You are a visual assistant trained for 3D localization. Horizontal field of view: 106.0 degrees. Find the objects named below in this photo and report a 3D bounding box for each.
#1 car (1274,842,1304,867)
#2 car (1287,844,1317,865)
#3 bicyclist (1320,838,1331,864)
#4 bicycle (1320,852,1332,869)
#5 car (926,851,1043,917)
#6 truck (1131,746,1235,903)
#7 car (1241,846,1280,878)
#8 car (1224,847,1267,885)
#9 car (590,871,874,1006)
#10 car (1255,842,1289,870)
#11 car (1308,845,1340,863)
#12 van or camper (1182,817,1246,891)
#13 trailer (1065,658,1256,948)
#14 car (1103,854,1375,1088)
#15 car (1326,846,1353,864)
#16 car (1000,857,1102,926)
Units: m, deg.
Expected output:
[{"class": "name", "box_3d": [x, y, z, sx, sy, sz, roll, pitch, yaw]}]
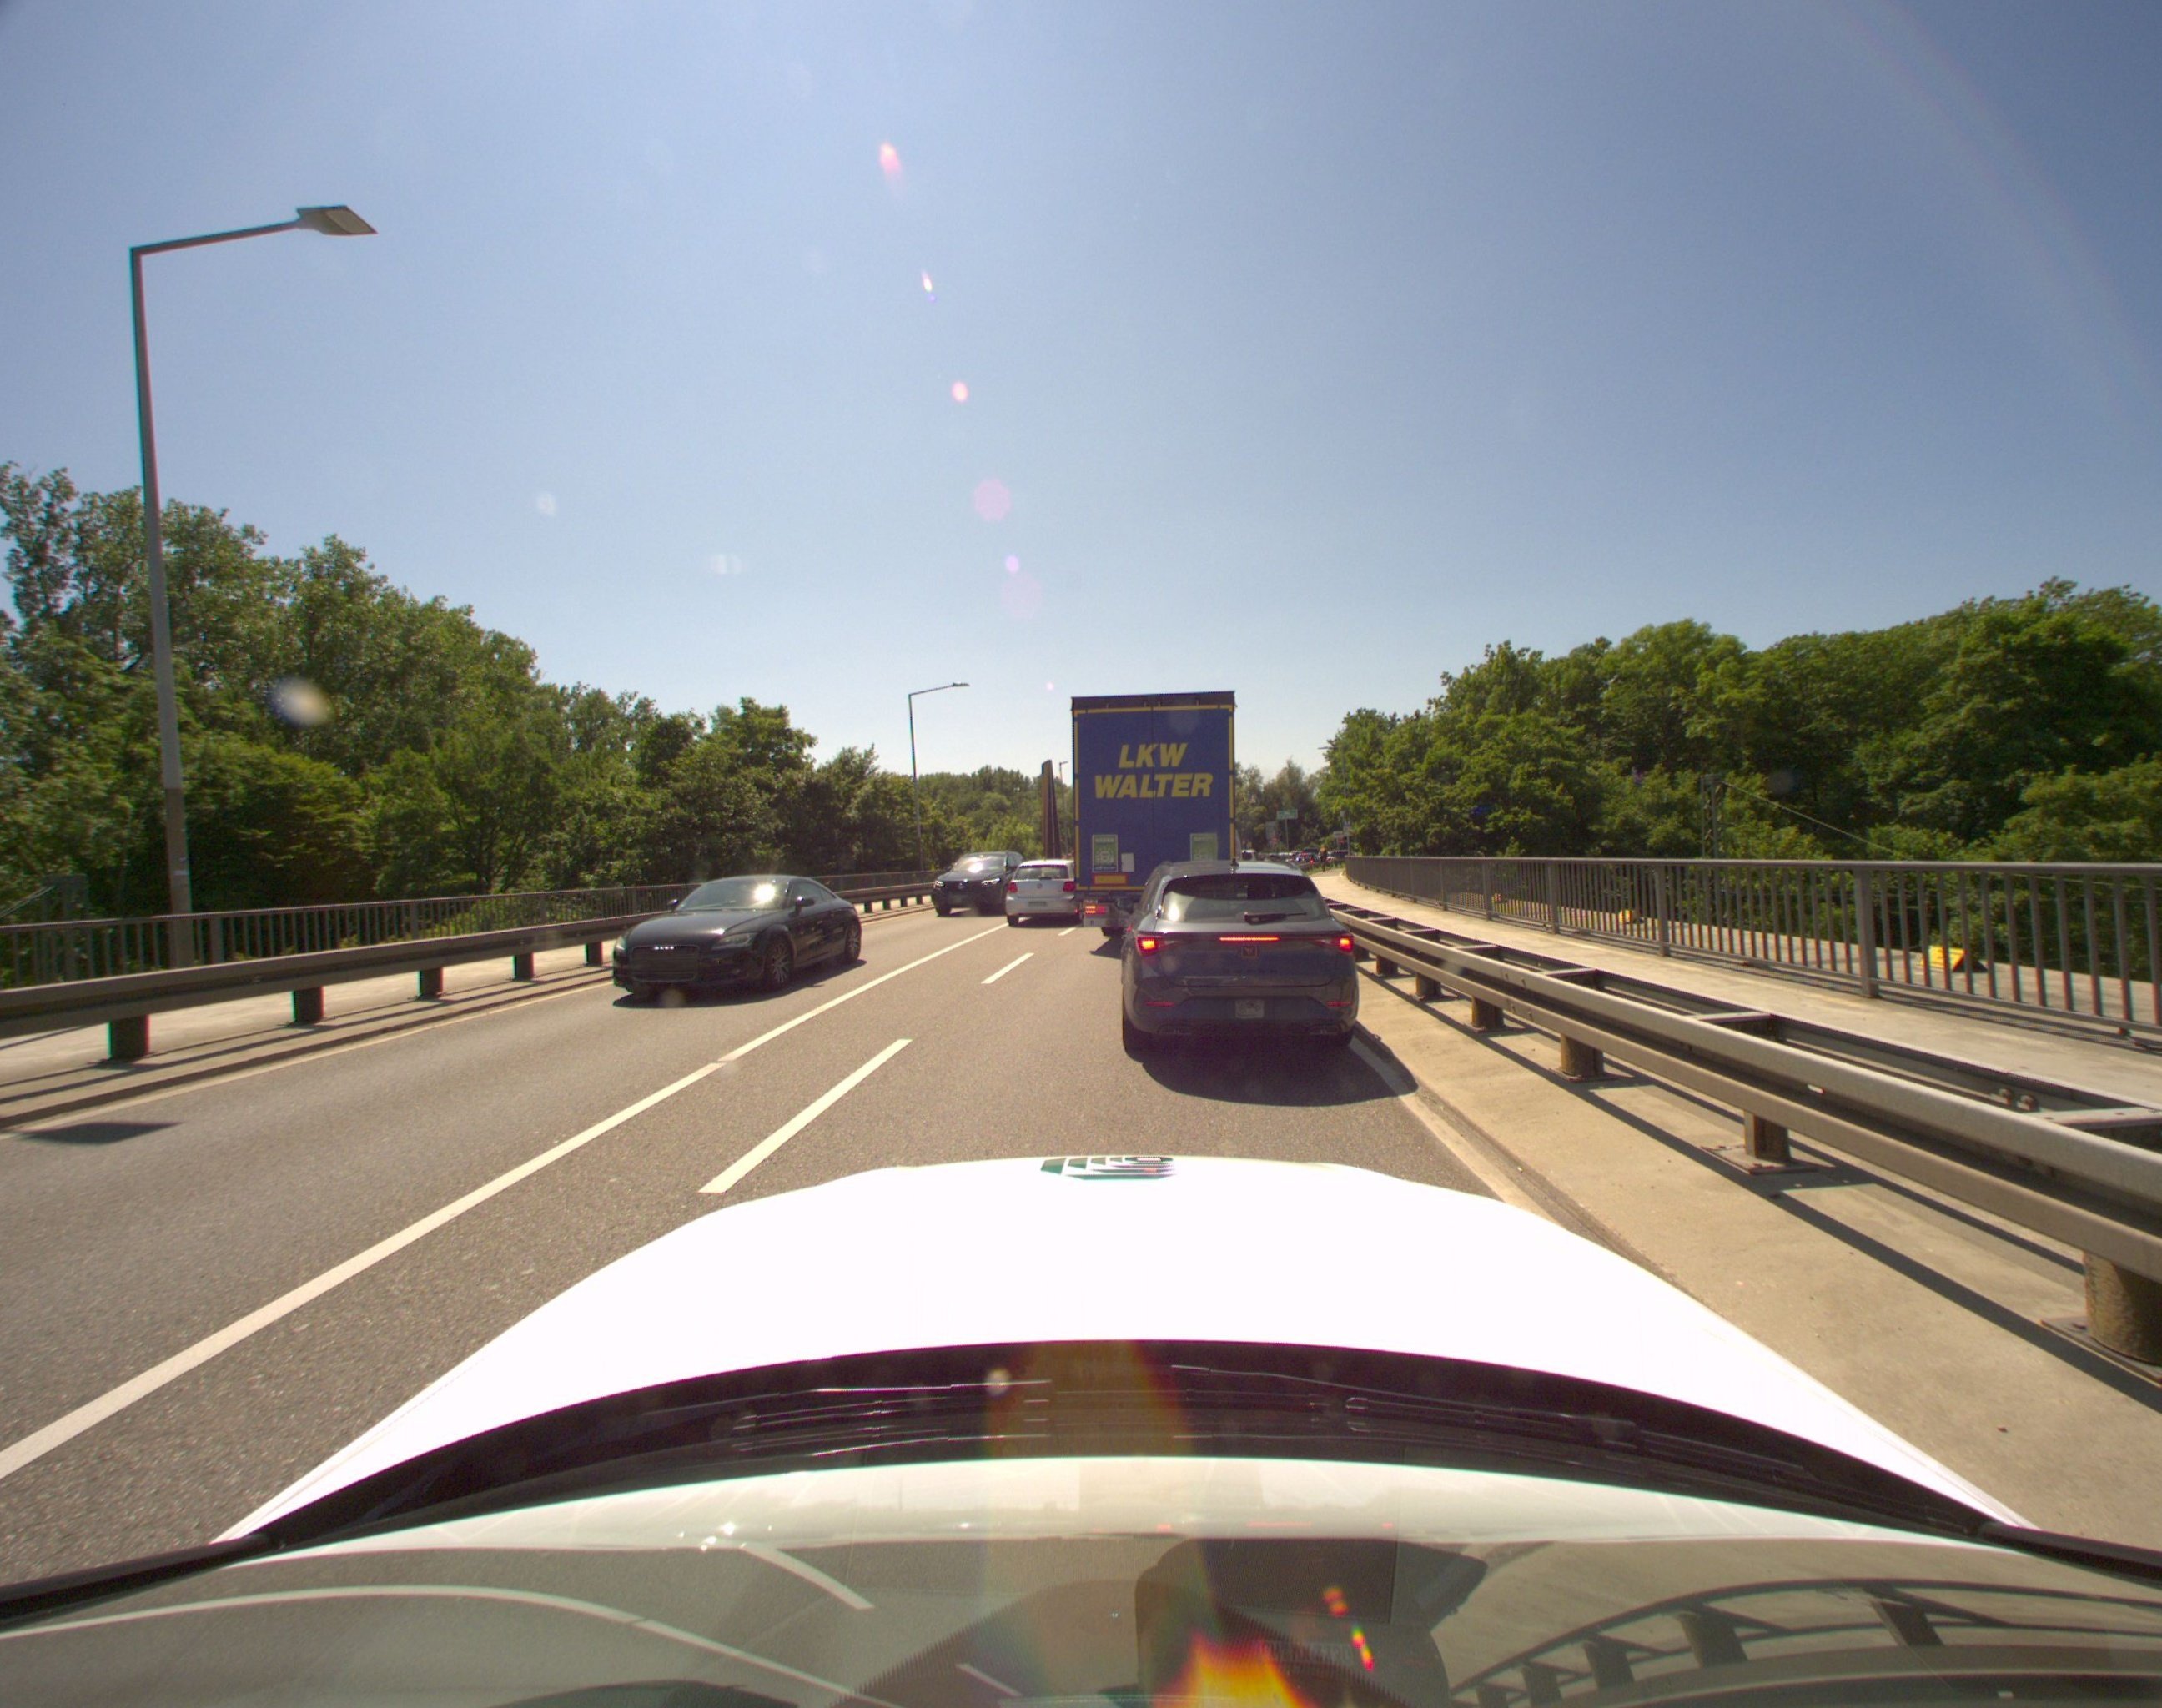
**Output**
[{"class": "car", "box_3d": [15.950, 0.040, 62.318, 1.706, 1.844, 4.021, -1, 0, 21]}, {"class": "car", "box_3d": [18.721, 0.060, 68.932, 1.670, 1.760, 4.023, -1, -1, 26]}, {"class": "bicyclist", "box_3d": [16.134, -0.175, 53.746, 0.574, 1.683, 0.731, -4, -1, 12]}, {"class": "bicycle", "box_3d": [16.176, 0.414, 53.777, 0.578, 1.035, 1.490, -4, -1, 12]}, {"class": "car", "box_3d": [-2.635, 0.772, 23.505, 1.953, 1.673, 4.628, -2, 0, 11]}, {"class": "truck", "box_3d": [3.442, -0.836, 26.451, 2.887, 4.418, 6.573, -1, 0, 10]}, {"class": "car", "box_3d": [10.717, 0.427, 48.426, 1.706, 1.802, 4.020, -1, 0, 20]}, {"class": "car", "box_3d": [8.594, 0.571, 42.326, 1.707, 1.844, 4.019, -1, 0, 18]}, {"class": "car", "box_3d": [-4.197, 0.940, 10.575, 1.670, 1.308, 3.978, -1, 0, 5]}, {"class": "car", "box_3d": [13.319, 0.128, 56.620, 1.706, 1.844, 4.021, -1, 0, 21]}, {"class": "car", "box_3d": [22.402, 0.047, 75.057, 1.975, 1.575, 4.024, 0, -1, 29]}, {"class": "van or camper", "box_3d": [5.790, -0.019, 34.803, 2.139, 2.815, 6.411, -1, 0, 14]}, {"class": "trailer", "box_3d": [2.196, -0.788, 18.787, 2.887, 4.418, 12.465, -1, 0, 9]}, {"class": "car", "box_3d": [1.178, 0.750, 7.127, 1.669, 1.456, 3.964, -1, 0, 5]}, {"class": "car", "box_3d": [25.698, 0.106, 80.907, 1.669, 1.760, 4.025, -2, -1, 31]}, {"class": "car", "box_3d": [-0.599, 0.815, 19.402, 1.667, 1.411, 3.985, -1, 0, 9]}]
